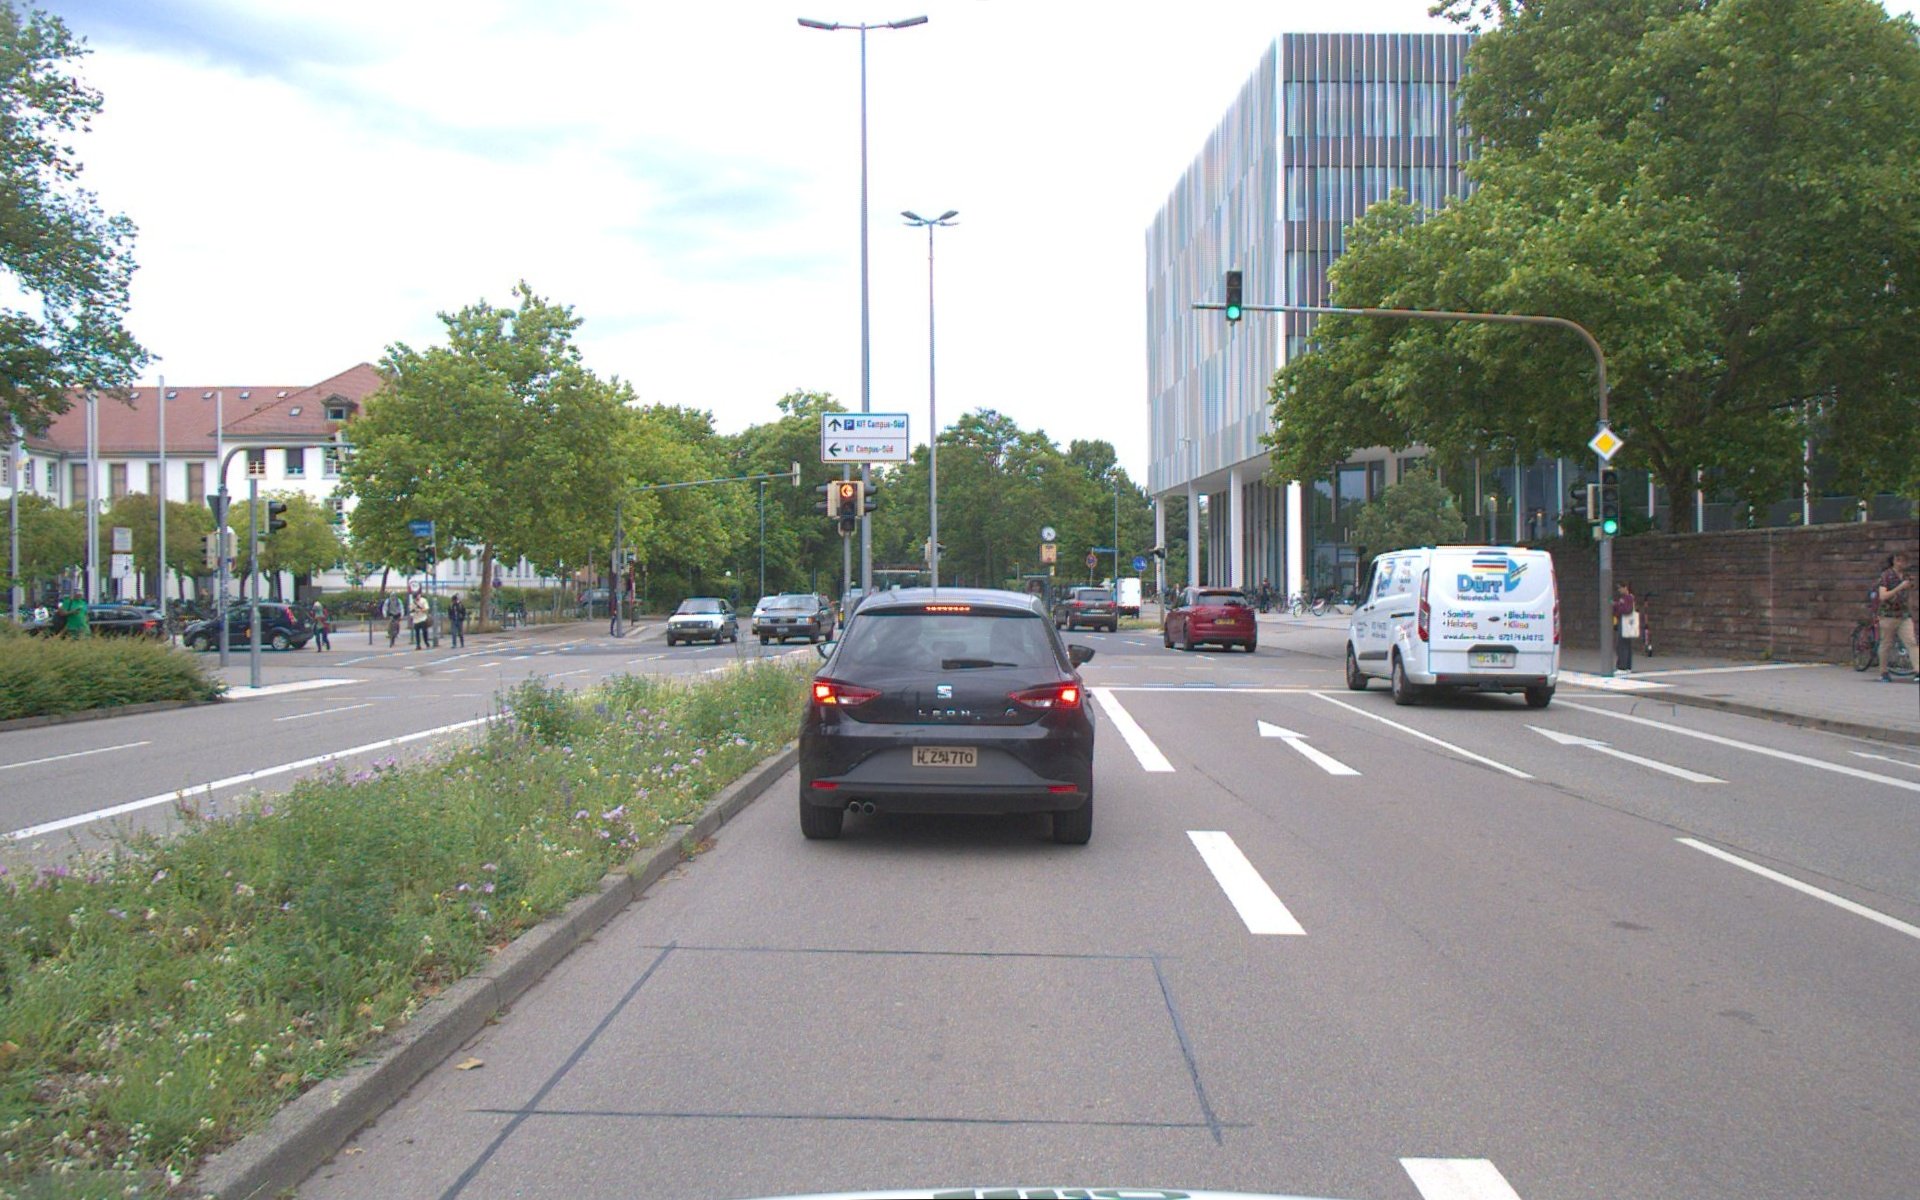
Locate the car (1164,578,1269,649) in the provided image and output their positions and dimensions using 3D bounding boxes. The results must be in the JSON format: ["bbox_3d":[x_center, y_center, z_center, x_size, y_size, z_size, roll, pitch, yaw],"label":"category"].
[{"bbox_3d":[6.476,0.304,42.091,1.910,1.652,3.747,1,1,-3],"label":"car"}]

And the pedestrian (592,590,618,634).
[{"bbox_3d":[-13.409,0.435,62.463,0.857,1.614,0.543,-2,1,-5],"label":"pedestrian"}]

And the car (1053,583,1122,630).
[{"bbox_3d":[4.911,0.225,64.151,1.878,1.693,4.109,-2,1,-6],"label":"car"}]

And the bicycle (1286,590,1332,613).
[{"bbox_3d":[15.222,0.068,72.041,1.858,0.914,0.693,-2,1,-19],"label":"bicycle"}]

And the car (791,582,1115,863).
[{"bbox_3d":[0.091,0.627,10.688,1.716,1.457,3.771,1,1,4],"label":"car"}]

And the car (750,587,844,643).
[{"bbox_3d":[-4.721,0.419,48.505,1.726,1.486,4.795,-3,0,6],"label":"car"}]

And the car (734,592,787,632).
[{"bbox_3d":[-7.988,0.457,66.445,1.670,1.456,4.226,-2,1,-2],"label":"car"}]

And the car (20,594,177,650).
[{"bbox_3d":[-26.697,0.662,51.389,3.984,1.477,1.617,-1,6,-16],"label":"car"}]

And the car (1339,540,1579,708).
[{"bbox_3d":[6.552,0.265,22.236,1.926,2.006,4.344,1,1,1],"label":"car"}]

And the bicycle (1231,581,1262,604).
[{"bbox_3d":[16.223,-0.437,93.562,1.755,1.232,0.563,-3,1,-33],"label":"bicycle"}]

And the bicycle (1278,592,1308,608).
[{"bbox_3d":[17.212,0.007,85.478,1.449,0.761,0.566,-2,1,-2],"label":"bicycle"}]

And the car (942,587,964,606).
[{"bbox_3d":[-0.536,-0.292,125.942,1.583,1.377,3.999,-2,1,-2],"label":"car"}]

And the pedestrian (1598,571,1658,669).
[{"bbox_3d":[11.310,0.333,28.019,0.646,1.588,0.636,-5,1,1],"label":"pedestrian"}]

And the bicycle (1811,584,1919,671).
[{"bbox_3d":[13.816,0.391,24.972,0.787,1.194,1.953,-3,1,-3],"label":"bicycle"}]

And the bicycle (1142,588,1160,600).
[{"bbox_3d":[14.387,-0.445,124.780,1.240,0.863,0.479,2,-1,-21],"label":"bicycle"}]

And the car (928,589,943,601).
[{"bbox_3d":[-2.479,-0.515,169.331,1.475,1.214,3.162,-2,1,-2],"label":"car"}]

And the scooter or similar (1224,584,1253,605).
[{"bbox_3d":[15.840,-0.313,94.153,1.653,1.126,0.493,-3,1,-30],"label":"scooter or similar"}]

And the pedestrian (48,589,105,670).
[{"bbox_3d":[-19.971,0.655,37.388,0.935,1.790,0.862,1,-1,-42],"label":"pedestrian"}]

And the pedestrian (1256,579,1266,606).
[{"bbox_3d":[15.405,-0.389,84.588,0.462,1.385,0.446,-2,1,12],"label":"pedestrian"}]

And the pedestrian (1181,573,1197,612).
[{"bbox_3d":[10.875,-0.356,78.404,0.673,1.812,0.677,0,1,1],"label":"pedestrian"}]

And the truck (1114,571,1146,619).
[{"bbox_3d":[8.487,-0.272,82.691,1.290,2.282,3.402,-2,1,1],"label":"truck"}]

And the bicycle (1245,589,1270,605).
[{"bbox_3d":[16.505,-0.173,91.846,1.420,0.872,0.362,-3,1,-25],"label":"bicycle"}]

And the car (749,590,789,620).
[{"bbox_3d":[-11.865,0.302,103.199,1.867,1.746,4.001,-2,1,2],"label":"car"}]

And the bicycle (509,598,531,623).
[{"bbox_3d":[-20.337,0.481,76.452,0.596,1.079,2.042,-2,1,-5],"label":"bicycle"}]

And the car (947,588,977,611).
[{"bbox_3d":[0.110,-0.073,108.960,1.860,1.377,3.881,-2,1,-2],"label":"car"}]

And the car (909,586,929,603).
[{"bbox_3d":[-3.942,-0.500,158.066,1.662,1.530,4.006,-2,1,-5],"label":"car"}]

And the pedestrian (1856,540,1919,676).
[{"bbox_3d":[13.178,0.092,23.215,0.618,1.853,1.033,-2,1,2],"label":"pedestrian"}]

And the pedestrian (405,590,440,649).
[{"bbox_3d":[-16.758,0.611,51.531,0.832,1.770,0.821,0,-5,-33],"label":"pedestrian"}]

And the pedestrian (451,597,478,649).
[{"bbox_3d":[-15.370,0.710,51.272,0.777,1.585,0.695,0,-3,-19],"label":"pedestrian"}]

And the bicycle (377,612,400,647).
[{"bbox_3d":[-18.307,0.932,52.995,0.655,1.081,1.611,1,-1,-18],"label":"bicycle"}]

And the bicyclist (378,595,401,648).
[{"bbox_3d":[-18.309,0.684,53.064,0.655,1.664,0.956,1,-1,-18],"label":"bicyclist"}]

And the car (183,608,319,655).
[{"bbox_3d":[-22.355,0.972,52.268,3.583,1.244,1.563,0,8,-5],"label":"car"}]

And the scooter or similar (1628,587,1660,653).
[{"bbox_3d":[13.340,0.370,32.235,0.424,1.199,1.702,-3,1,26],"label":"scooter or similar"}]

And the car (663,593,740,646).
[{"bbox_3d":[-7.725,0.553,49.703,1.574,1.405,3.810,-2,1,2],"label":"car"}]

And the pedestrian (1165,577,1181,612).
[{"bbox_3d":[10.116,-0.258,78.429,0.673,1.668,0.633,1,1,1],"label":"pedestrian"}]

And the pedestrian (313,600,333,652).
[{"bbox_3d":[-19.742,0.816,51.248,0.562,1.553,0.843,-1,-4,-22],"label":"pedestrian"}]

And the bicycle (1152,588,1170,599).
[{"bbox_3d":[14.939,-0.490,122.754,1.216,0.837,0.479,2,-1,-21],"label":"bicycle"}]

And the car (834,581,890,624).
[{"bbox_3d":[-4.100,0.084,69.870,1.881,1.693,4.400,-2,0,2],"label":"car"}]
